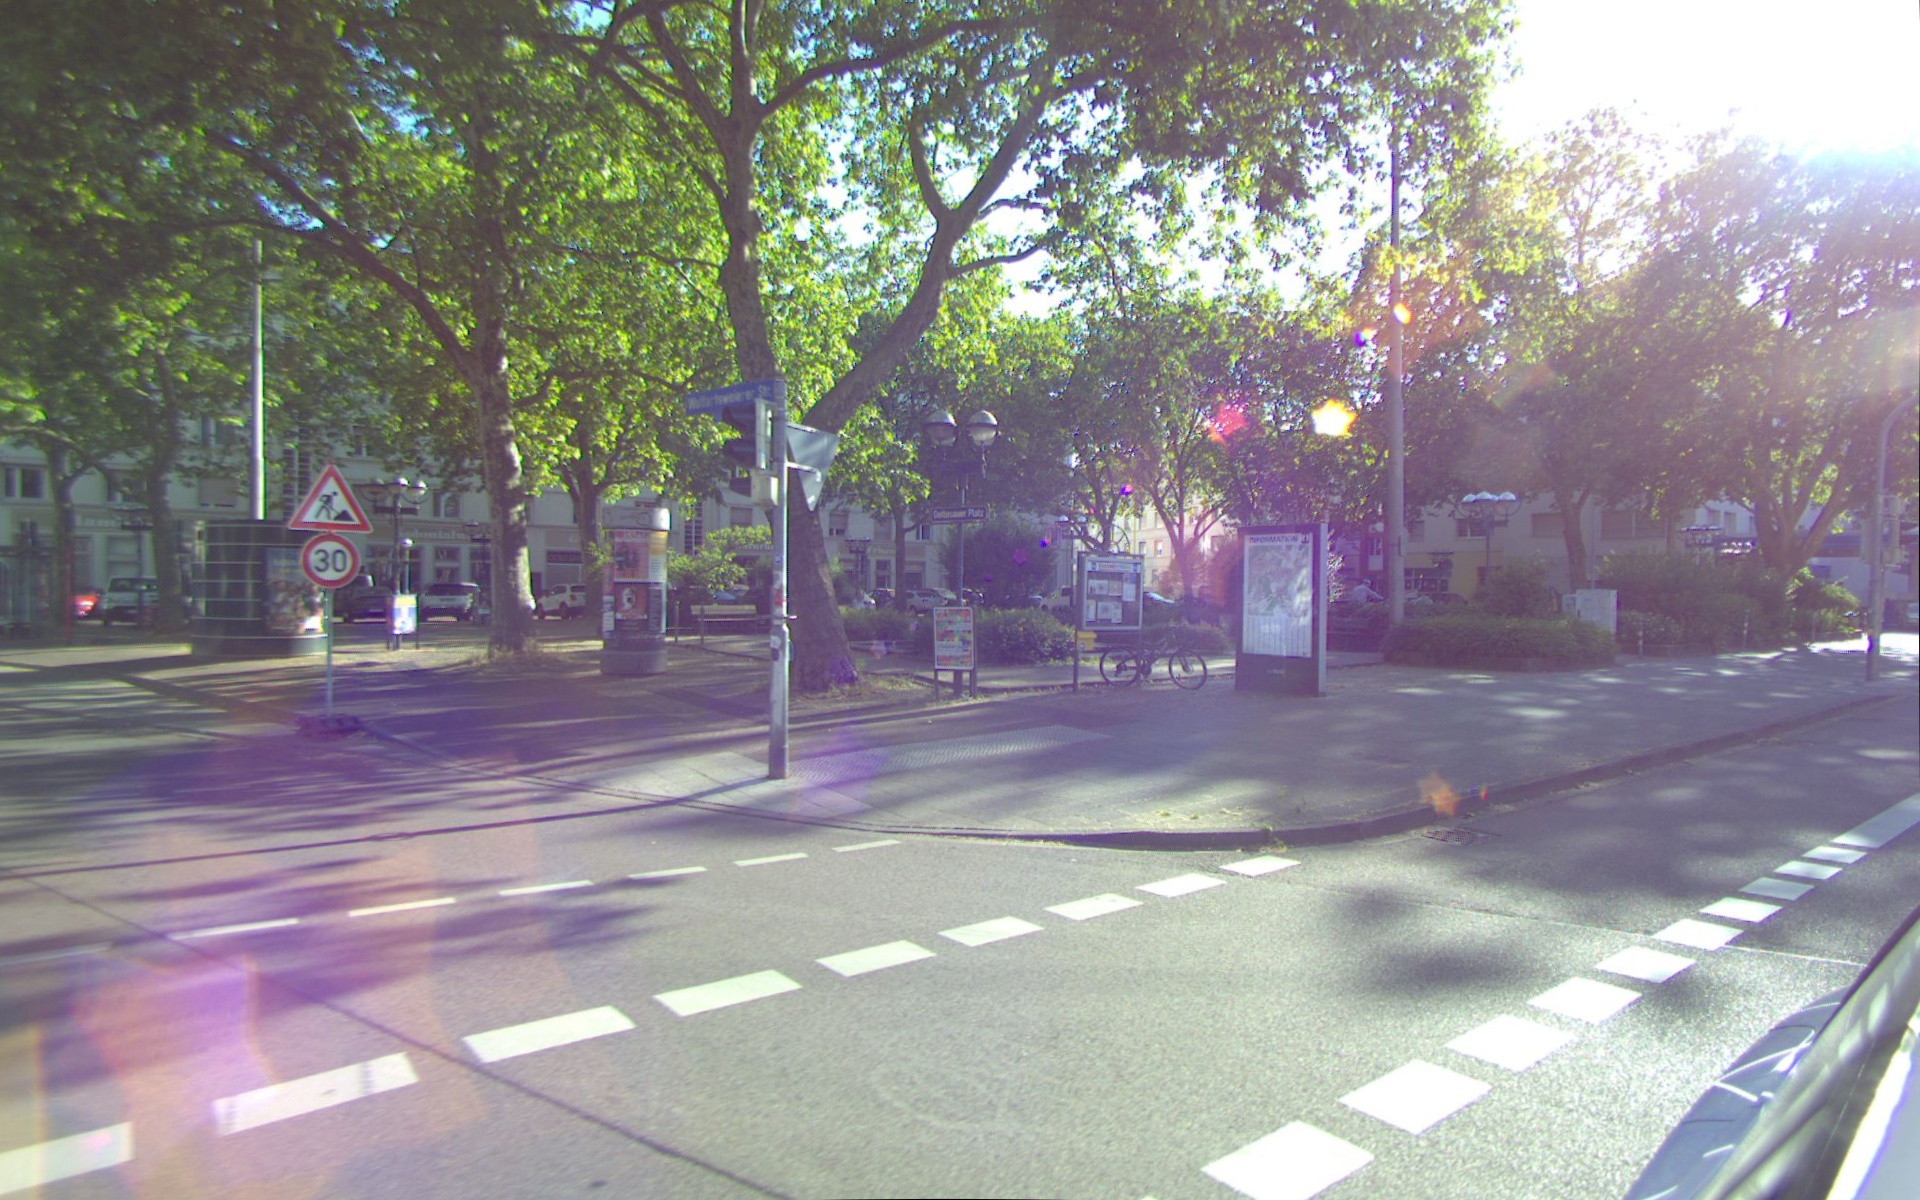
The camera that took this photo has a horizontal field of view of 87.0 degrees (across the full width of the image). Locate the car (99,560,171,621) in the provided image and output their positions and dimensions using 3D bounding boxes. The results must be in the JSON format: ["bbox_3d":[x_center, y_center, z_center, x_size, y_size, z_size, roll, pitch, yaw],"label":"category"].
[{"bbox_3d":[-28.797,-0.387,35.410,1.730,1.893,4.353,-1,3,-37],"label":"car"}]

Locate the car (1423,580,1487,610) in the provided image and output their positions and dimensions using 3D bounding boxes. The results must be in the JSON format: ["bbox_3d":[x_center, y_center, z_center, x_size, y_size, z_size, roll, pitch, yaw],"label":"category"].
[{"bbox_3d":[28.287,-0.280,57.753,4.106,1.680,1.805,0,0,-41],"label":"car"}]

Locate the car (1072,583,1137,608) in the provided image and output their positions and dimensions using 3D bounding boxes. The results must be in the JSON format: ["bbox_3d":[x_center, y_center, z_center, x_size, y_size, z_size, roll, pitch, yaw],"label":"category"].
[{"bbox_3d":[9.429,-0.297,66.222,1.886,1.541,3.997,-1,0,-37],"label":"car"}]

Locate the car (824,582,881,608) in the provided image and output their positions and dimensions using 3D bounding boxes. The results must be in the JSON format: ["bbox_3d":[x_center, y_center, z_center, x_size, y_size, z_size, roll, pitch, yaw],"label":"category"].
[{"bbox_3d":[-7.068,-0.347,66.270,1.747,1.498,4.353,-1,3,-37],"label":"car"}]

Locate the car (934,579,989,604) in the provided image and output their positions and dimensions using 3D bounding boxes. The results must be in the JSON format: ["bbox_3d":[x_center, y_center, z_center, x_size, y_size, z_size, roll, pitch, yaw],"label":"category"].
[{"bbox_3d":[0.067,-0.645,73.147,1.747,1.539,4.353,-1,3,-37],"label":"car"}]

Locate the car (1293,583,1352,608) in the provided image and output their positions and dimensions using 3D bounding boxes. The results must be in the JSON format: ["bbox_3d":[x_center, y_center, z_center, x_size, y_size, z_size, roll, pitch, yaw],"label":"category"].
[{"bbox_3d":[22.810,-0.294,63.674,4.106,1.521,1.709,0,0,-41],"label":"car"}]

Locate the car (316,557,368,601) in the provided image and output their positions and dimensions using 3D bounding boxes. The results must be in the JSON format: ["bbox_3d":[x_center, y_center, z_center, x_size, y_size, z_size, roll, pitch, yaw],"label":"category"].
[{"bbox_3d":[-29.626,-1.036,48.487,1.730,1.893,4.353,-1,3,-37],"label":"car"}]

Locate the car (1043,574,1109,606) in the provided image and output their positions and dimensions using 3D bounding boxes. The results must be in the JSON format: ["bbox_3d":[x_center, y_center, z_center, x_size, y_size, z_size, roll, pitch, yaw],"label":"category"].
[{"bbox_3d":[7.393,-0.648,64.628,2.010,1.941,3.997,-1,0,-37],"label":"car"}]

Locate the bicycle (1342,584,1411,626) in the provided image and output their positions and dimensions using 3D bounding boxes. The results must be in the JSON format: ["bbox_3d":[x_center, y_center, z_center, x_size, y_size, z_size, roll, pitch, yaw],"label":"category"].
[{"bbox_3d":[11.937,0.148,29.043,1.694,1.178,0.696,-1,-1,10],"label":"bicycle"}]

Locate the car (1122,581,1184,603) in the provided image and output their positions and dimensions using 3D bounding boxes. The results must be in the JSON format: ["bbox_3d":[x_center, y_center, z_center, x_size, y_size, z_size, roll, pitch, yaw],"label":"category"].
[{"bbox_3d":[13.191,-0.512,69.314,1.746,1.426,3.997,-1,0,-37],"label":"car"}]

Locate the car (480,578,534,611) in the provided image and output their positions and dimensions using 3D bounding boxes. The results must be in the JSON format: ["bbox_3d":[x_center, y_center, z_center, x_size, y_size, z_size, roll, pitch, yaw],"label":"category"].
[{"bbox_3d":[-24.115,-0.334,53.770,1.747,1.498,4.353,-1,3,-37],"label":"car"}]

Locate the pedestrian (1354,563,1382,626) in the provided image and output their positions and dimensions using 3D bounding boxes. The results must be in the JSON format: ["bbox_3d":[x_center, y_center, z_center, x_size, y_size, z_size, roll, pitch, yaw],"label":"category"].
[{"bbox_3d":[11.878,-0.152,29.456,0.545,1.808,0.625,-1,-1,4],"label":"pedestrian"}]

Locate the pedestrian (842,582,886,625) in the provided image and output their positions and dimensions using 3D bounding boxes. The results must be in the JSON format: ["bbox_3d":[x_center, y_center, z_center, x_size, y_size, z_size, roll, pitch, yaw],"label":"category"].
[{"bbox_3d":[-2.858,0.108,30.084,0.776,1.256,1.140,-1,-1,-38],"label":"pedestrian"}]

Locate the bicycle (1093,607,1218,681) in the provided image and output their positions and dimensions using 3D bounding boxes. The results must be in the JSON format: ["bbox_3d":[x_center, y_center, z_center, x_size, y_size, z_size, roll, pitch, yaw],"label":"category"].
[{"bbox_3d":[2.961,0.649,15.379,1.806,1.067,0.530,0,0,27],"label":"bicycle"}]

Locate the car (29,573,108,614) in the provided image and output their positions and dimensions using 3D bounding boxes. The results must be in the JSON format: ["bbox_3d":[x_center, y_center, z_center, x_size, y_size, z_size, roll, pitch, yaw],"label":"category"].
[{"bbox_3d":[-37.745,-0.320,42.946,1.788,1.498,4.358,0,3,-31],"label":"car"}]

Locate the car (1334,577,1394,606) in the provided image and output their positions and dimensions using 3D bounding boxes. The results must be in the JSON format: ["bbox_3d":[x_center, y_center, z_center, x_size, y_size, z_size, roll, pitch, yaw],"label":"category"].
[{"bbox_3d":[24.657,-0.495,61.737,4.106,1.681,1.709,0,0,-41],"label":"car"}]

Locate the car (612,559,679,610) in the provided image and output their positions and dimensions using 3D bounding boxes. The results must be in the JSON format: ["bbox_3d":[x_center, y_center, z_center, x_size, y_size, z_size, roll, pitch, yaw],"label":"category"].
[{"bbox_3d":[-18.201,-0.948,58.400,2.127,2.699,5.068,-1,3,-37],"label":"car"}]

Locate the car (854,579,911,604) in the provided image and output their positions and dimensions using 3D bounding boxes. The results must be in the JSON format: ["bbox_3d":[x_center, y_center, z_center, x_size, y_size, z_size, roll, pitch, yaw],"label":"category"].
[{"bbox_3d":[-5.260,-0.595,67.997,1.747,1.498,4.353,-1,3,-37],"label":"car"}]

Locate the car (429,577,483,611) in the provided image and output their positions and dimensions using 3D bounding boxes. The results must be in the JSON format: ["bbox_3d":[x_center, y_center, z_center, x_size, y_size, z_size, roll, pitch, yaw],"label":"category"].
[{"bbox_3d":[-25.922,-0.330,51.977,1.747,1.498,4.353,-1,3,-37],"label":"car"}]

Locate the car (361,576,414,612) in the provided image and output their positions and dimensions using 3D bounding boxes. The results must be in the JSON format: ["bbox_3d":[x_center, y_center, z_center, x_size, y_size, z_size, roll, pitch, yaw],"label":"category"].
[{"bbox_3d":[-28.036,-0.326,49.514,1.730,1.498,4.353,-1,3,-37],"label":"car"}]

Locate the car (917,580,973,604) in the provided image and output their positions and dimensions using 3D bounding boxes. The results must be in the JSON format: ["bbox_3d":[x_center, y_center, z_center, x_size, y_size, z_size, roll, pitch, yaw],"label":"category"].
[{"bbox_3d":[-1.071,-0.578,71.258,1.747,1.498,4.353,-1,3,-37],"label":"car"}]

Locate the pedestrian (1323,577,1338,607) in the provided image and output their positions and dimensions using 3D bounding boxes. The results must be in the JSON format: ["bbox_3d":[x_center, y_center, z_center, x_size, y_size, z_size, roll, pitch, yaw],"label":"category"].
[{"bbox_3d":[20.636,-0.446,56.337,0.620,1.634,0.539,0,-1,-40],"label":"pedestrian"}]

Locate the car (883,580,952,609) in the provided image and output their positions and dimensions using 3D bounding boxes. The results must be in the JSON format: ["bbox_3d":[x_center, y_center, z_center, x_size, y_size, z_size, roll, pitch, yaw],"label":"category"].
[{"bbox_3d":[-2.412,-0.285,56.316,1.886,1.541,3.997,-1,0,-37],"label":"car"}]

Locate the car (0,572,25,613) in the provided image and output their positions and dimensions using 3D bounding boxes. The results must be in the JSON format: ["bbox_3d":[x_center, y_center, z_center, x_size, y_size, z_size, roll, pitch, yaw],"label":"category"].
[{"bbox_3d":[-39.917,-0.307,41.253,1.788,1.498,4.358,0,3,-31],"label":"car"}]

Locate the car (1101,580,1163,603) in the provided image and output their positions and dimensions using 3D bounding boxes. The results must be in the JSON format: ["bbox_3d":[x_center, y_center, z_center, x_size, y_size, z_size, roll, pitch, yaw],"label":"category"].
[{"bbox_3d":[11.485,-0.580,67.762,1.746,1.426,3.997,-1,0,-37],"label":"car"}]
